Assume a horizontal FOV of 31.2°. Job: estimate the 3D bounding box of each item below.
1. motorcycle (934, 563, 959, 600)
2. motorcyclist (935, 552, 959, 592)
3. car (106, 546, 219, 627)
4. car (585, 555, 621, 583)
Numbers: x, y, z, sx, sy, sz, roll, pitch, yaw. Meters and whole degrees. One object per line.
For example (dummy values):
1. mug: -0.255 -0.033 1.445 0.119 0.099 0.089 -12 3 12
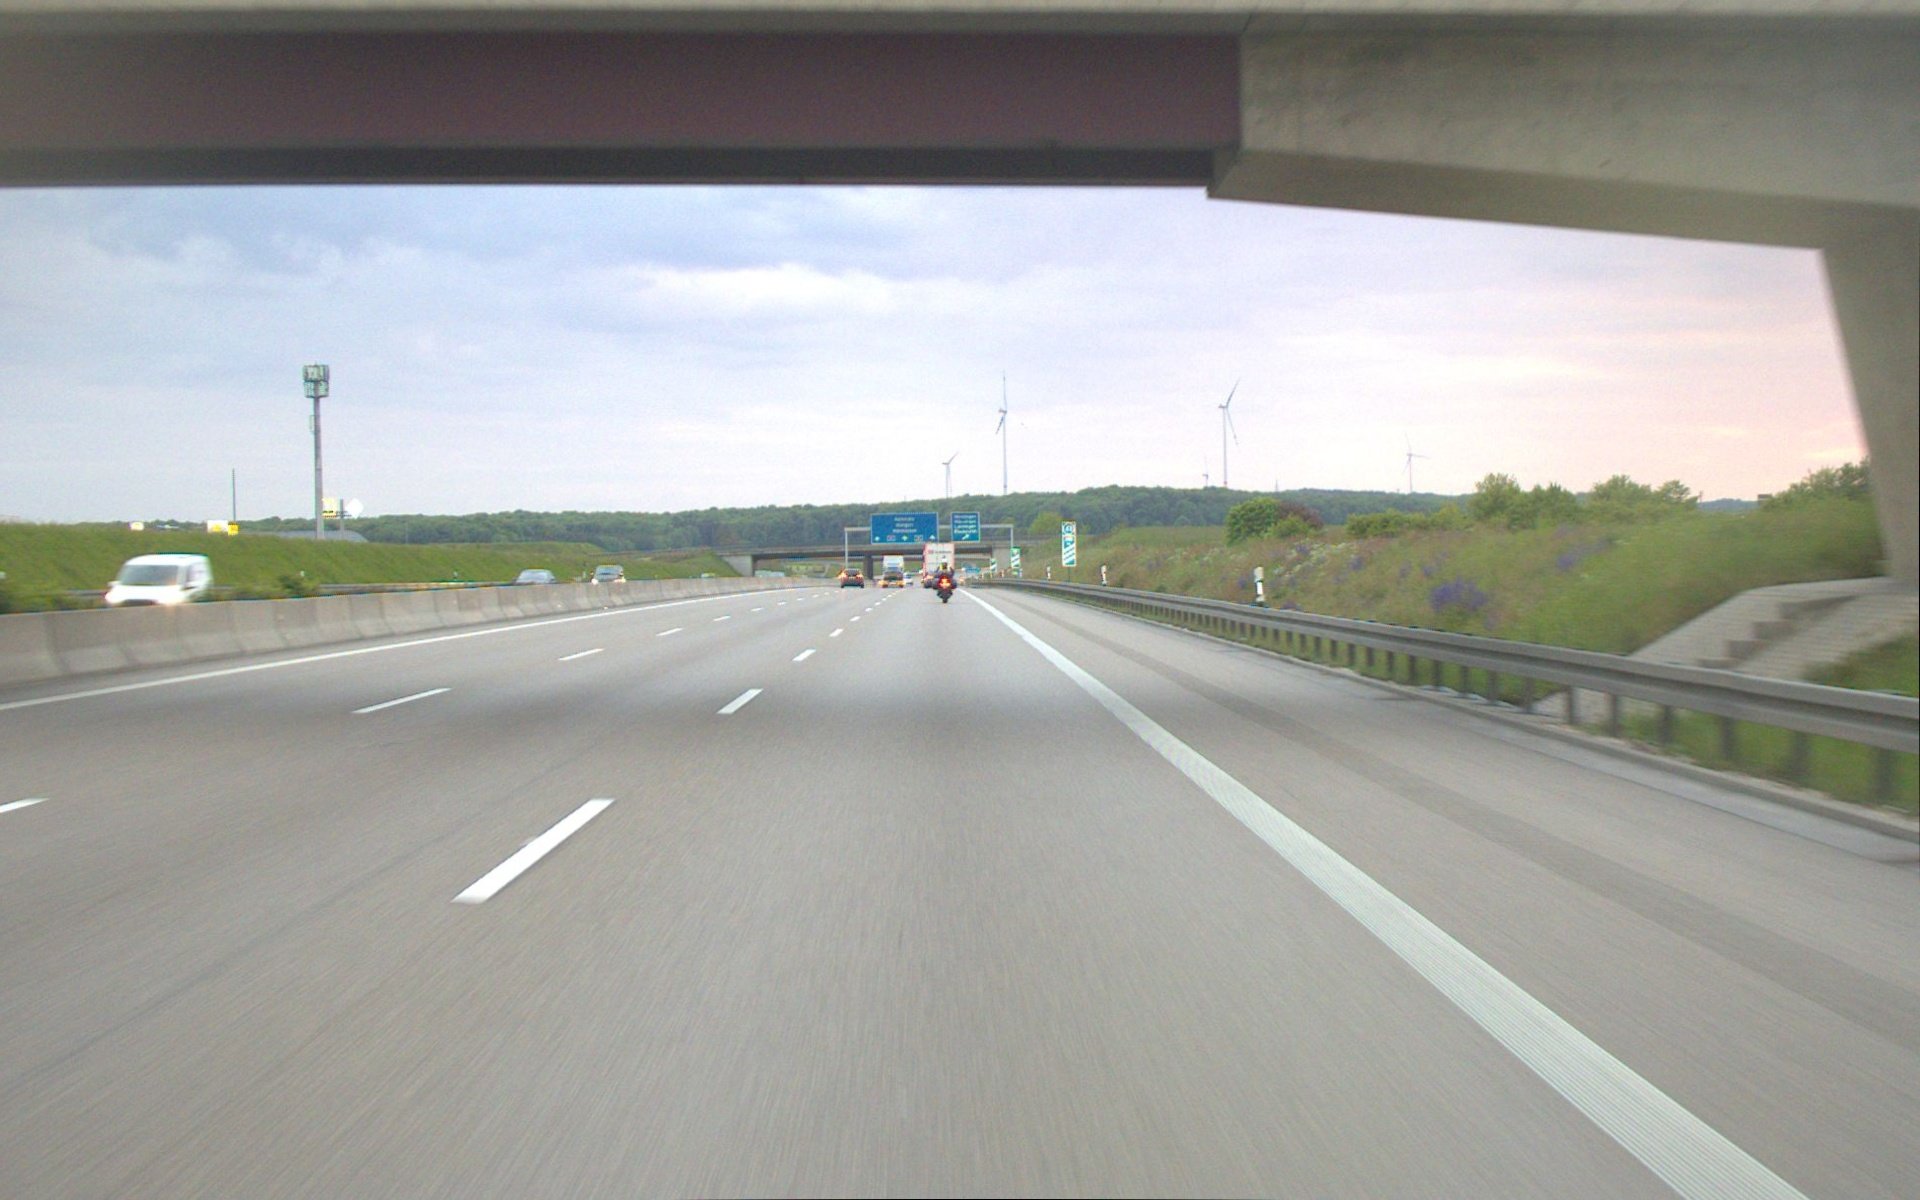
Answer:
1. motorcycle: -0.513 -0.713 129.351 0.902 1.342 2.349 0 1 0
2. motorcyclist: -0.476 -1.075 129.426 0.866 1.482 1.168 1 1 1
3. car: -19.959 -0.368 86.218 1.823 1.929 4.894 1 1 -2
4. car: -24.847 -2.153 239.533 1.993 1.930 5.090 1 1 -1
